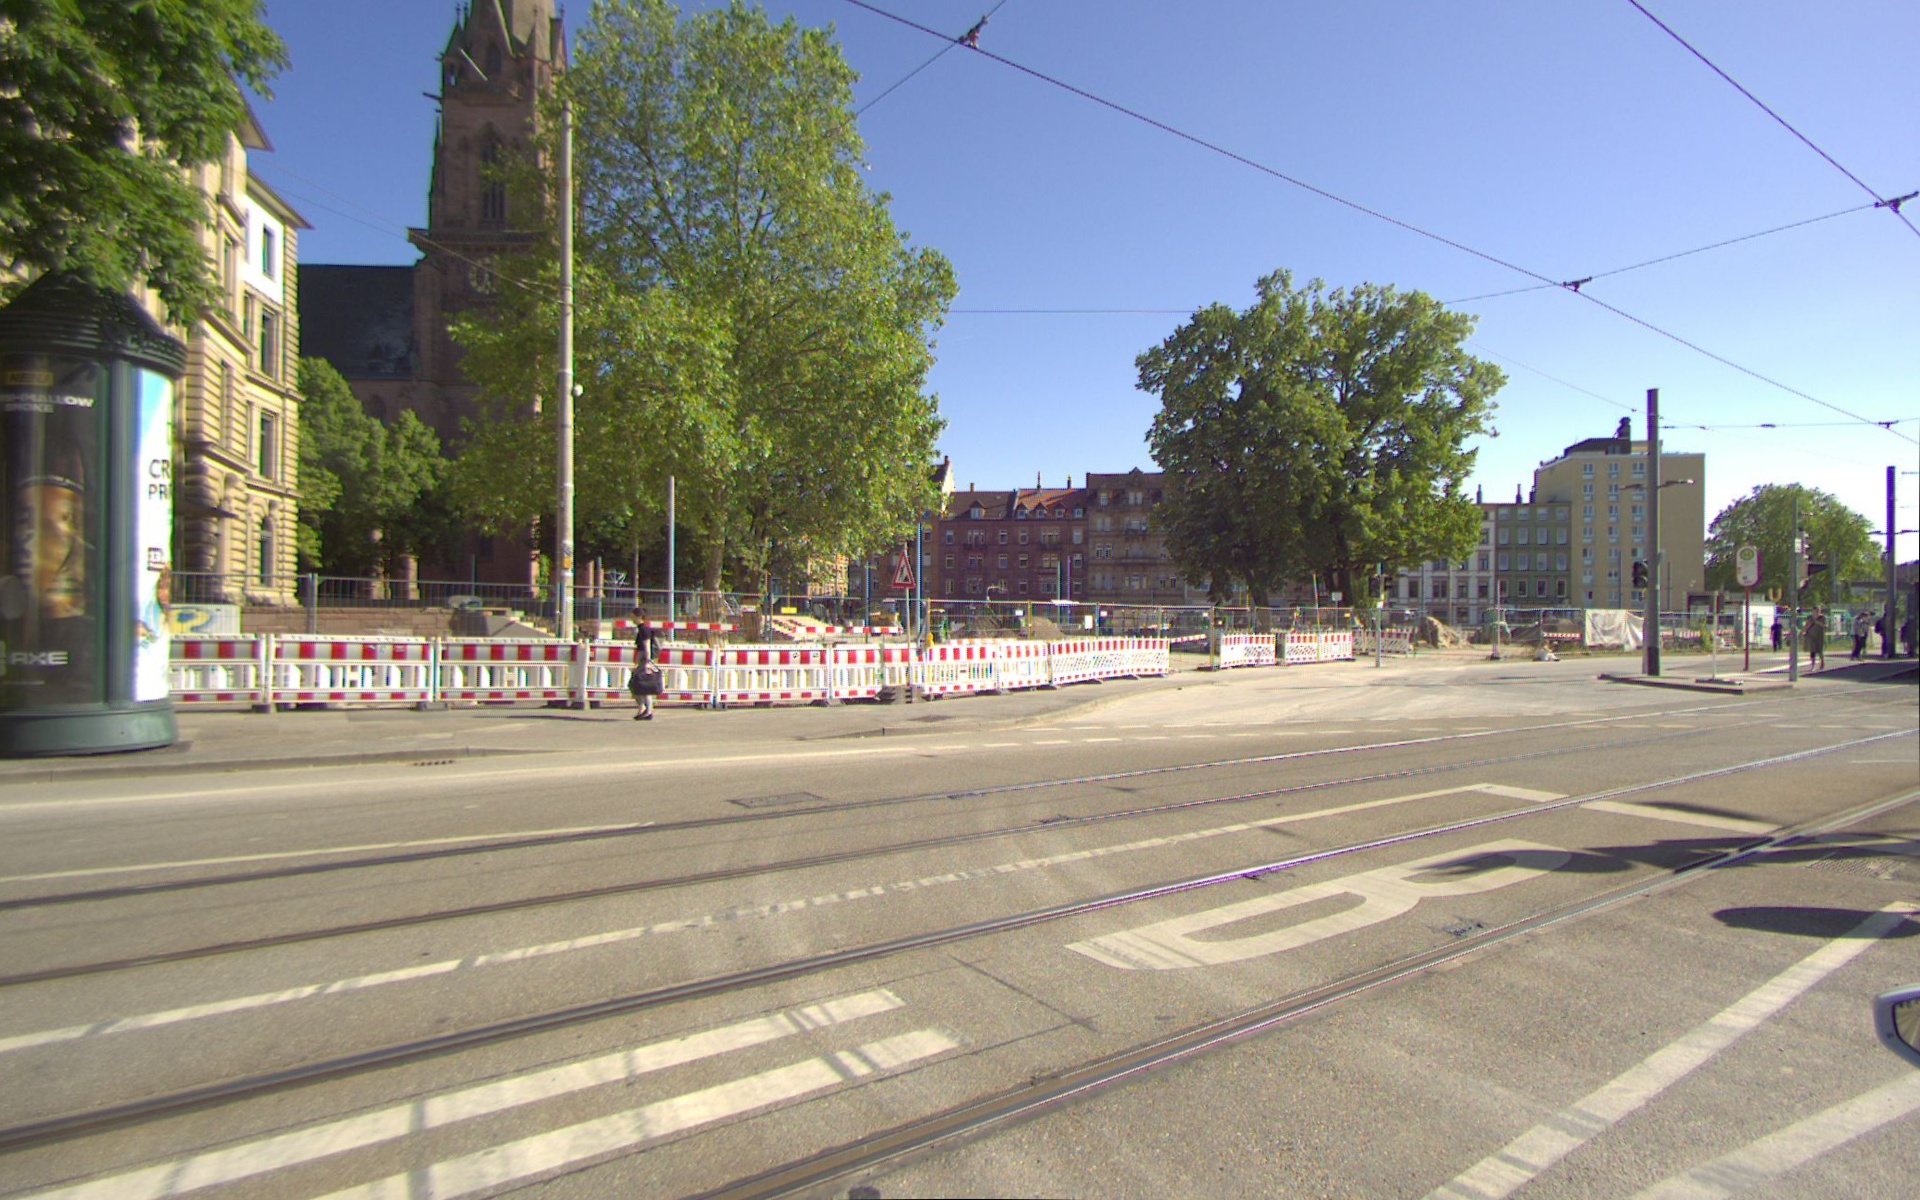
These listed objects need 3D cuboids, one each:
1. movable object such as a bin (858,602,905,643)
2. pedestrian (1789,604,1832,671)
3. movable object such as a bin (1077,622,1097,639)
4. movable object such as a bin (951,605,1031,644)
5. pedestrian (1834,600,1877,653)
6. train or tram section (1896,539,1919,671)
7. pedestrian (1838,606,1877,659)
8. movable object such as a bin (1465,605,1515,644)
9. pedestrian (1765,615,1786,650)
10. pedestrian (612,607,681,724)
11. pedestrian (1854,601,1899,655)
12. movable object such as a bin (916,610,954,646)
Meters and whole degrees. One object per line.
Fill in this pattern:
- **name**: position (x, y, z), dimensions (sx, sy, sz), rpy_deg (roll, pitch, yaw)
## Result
- **movable object such as a bin**: position (-6.441, 1.827, 83.395), dimensions (3.056, 3.215, 5.249), rpy_deg (2, 0, 4)
- **pedestrian**: position (24.402, 1.057, 28.828), dimensions (0.893, 1.875, 0.756), rpy_deg (-2, 1, -37)
- **movable object such as a bin**: position (12.886, 3.050, 101.734), dimensions (1.715, 1.702, 3.804), rpy_deg (-1, -1, 10)
- **movable object such as a bin**: position (2.447, 1.931, 78.372), dimensions (5.962, 2.795, 1.895), rpy_deg (2, 0, 6)
- **pedestrian**: position (35.538, 1.055, 39.882), dimensions (0.987, 2.040, 0.957), rpy_deg (2, 0, -28)
- **train or tram section**: position (30.646, 0.204, 29.457), dimensions (10.378, 3.554, 2.798), rpy_deg (1, -1, -36)
- **pedestrian**: position (31.003, 1.105, 34.710), dimensions (0.850, 1.791, 0.971), rpy_deg (0, -1, 34)
- **movable object such as a bin**: position (40.123, 1.803, 76.147), dimensions (1.796, 2.833, 4.001), rpy_deg (2, 0, 3)
- **pedestrian**: position (42.196, 1.683, 51.949), dimensions (0.792, 1.791, 0.663), rpy_deg (1, -1, -36)
- **pedestrian**: position (-4.692, 0.970, 15.027), dimensions (0.834, 1.691, 0.726), rpy_deg (3, -2, -24)
- **pedestrian**: position (35.290, 1.072, 38.678), dimensions (0.987, 2.040, 0.957), rpy_deg (2, 0, -28)
- **movable object such as a bin**: position (-1.728, 1.946, 71.266), dimensions (1.856, 2.377, 4.232), rpy_deg (2, 0, 9)
